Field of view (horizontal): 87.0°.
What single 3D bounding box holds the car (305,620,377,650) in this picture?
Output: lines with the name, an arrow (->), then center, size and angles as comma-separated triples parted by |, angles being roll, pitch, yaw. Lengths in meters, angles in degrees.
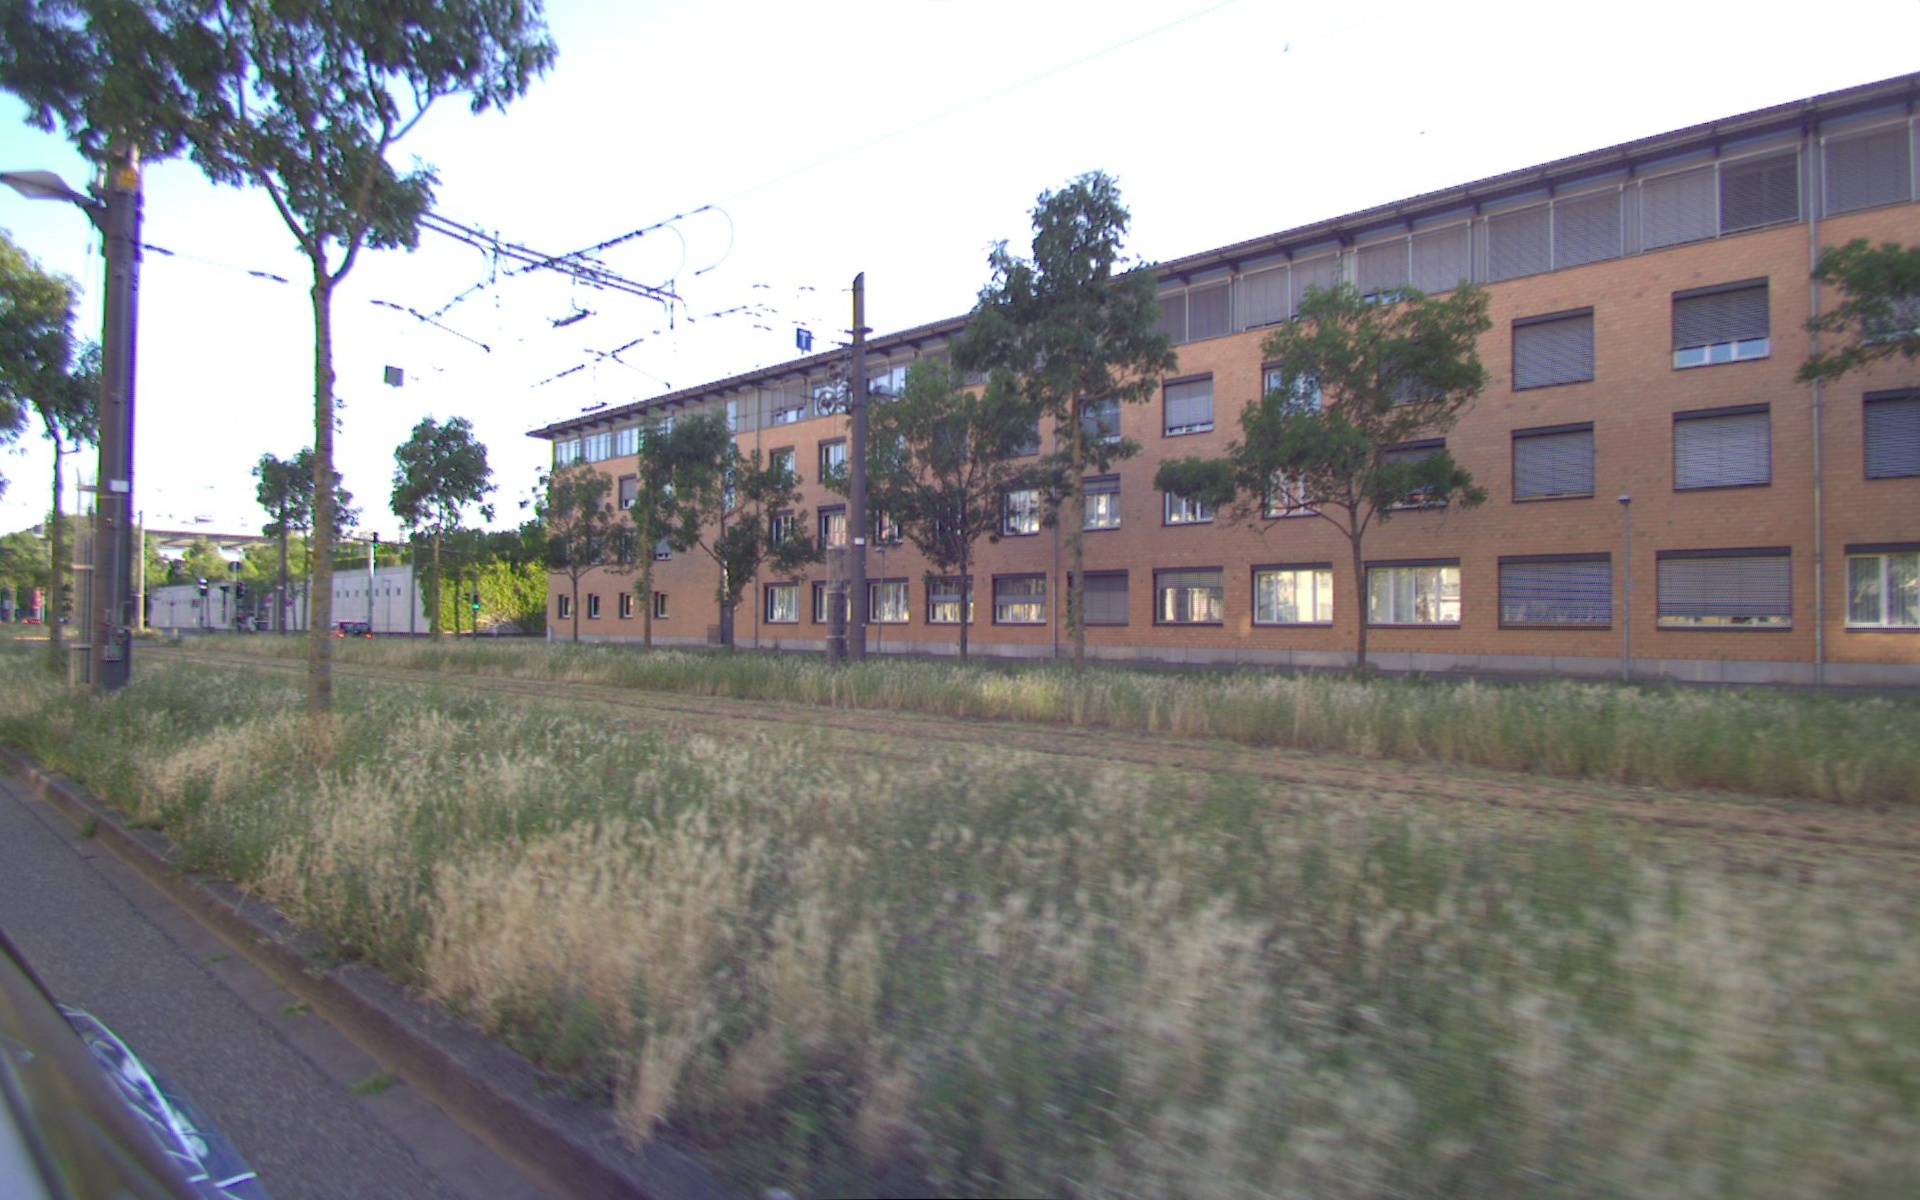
car -> -29.132, 1.621, 47.593 | 3.998, 1.386, 1.771 | -1, -2, 41

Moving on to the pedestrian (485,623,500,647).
pedestrian -> -26.466, 1.967, 57.323 | 0.574, 1.378, 0.581 | -1, -2, 35

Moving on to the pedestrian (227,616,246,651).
pedestrian -> -35.416, 1.648, 49.550 | 0.544, 1.697, 0.512 | -1, -1, 11

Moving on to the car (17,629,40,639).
car -> -125.291, 4.544, 136.077 | 3.998, 1.386, 1.771 | -1, -2, 41

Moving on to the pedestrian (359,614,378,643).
pedestrian -> -41.227, 1.976, 70.538 | 0.862, 2.029, 0.725 | -1, -1, 22

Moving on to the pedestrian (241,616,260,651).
pedestrian -> -34.639, 1.618, 49.431 | 0.544, 1.697, 0.512 | 0, -1, 11
